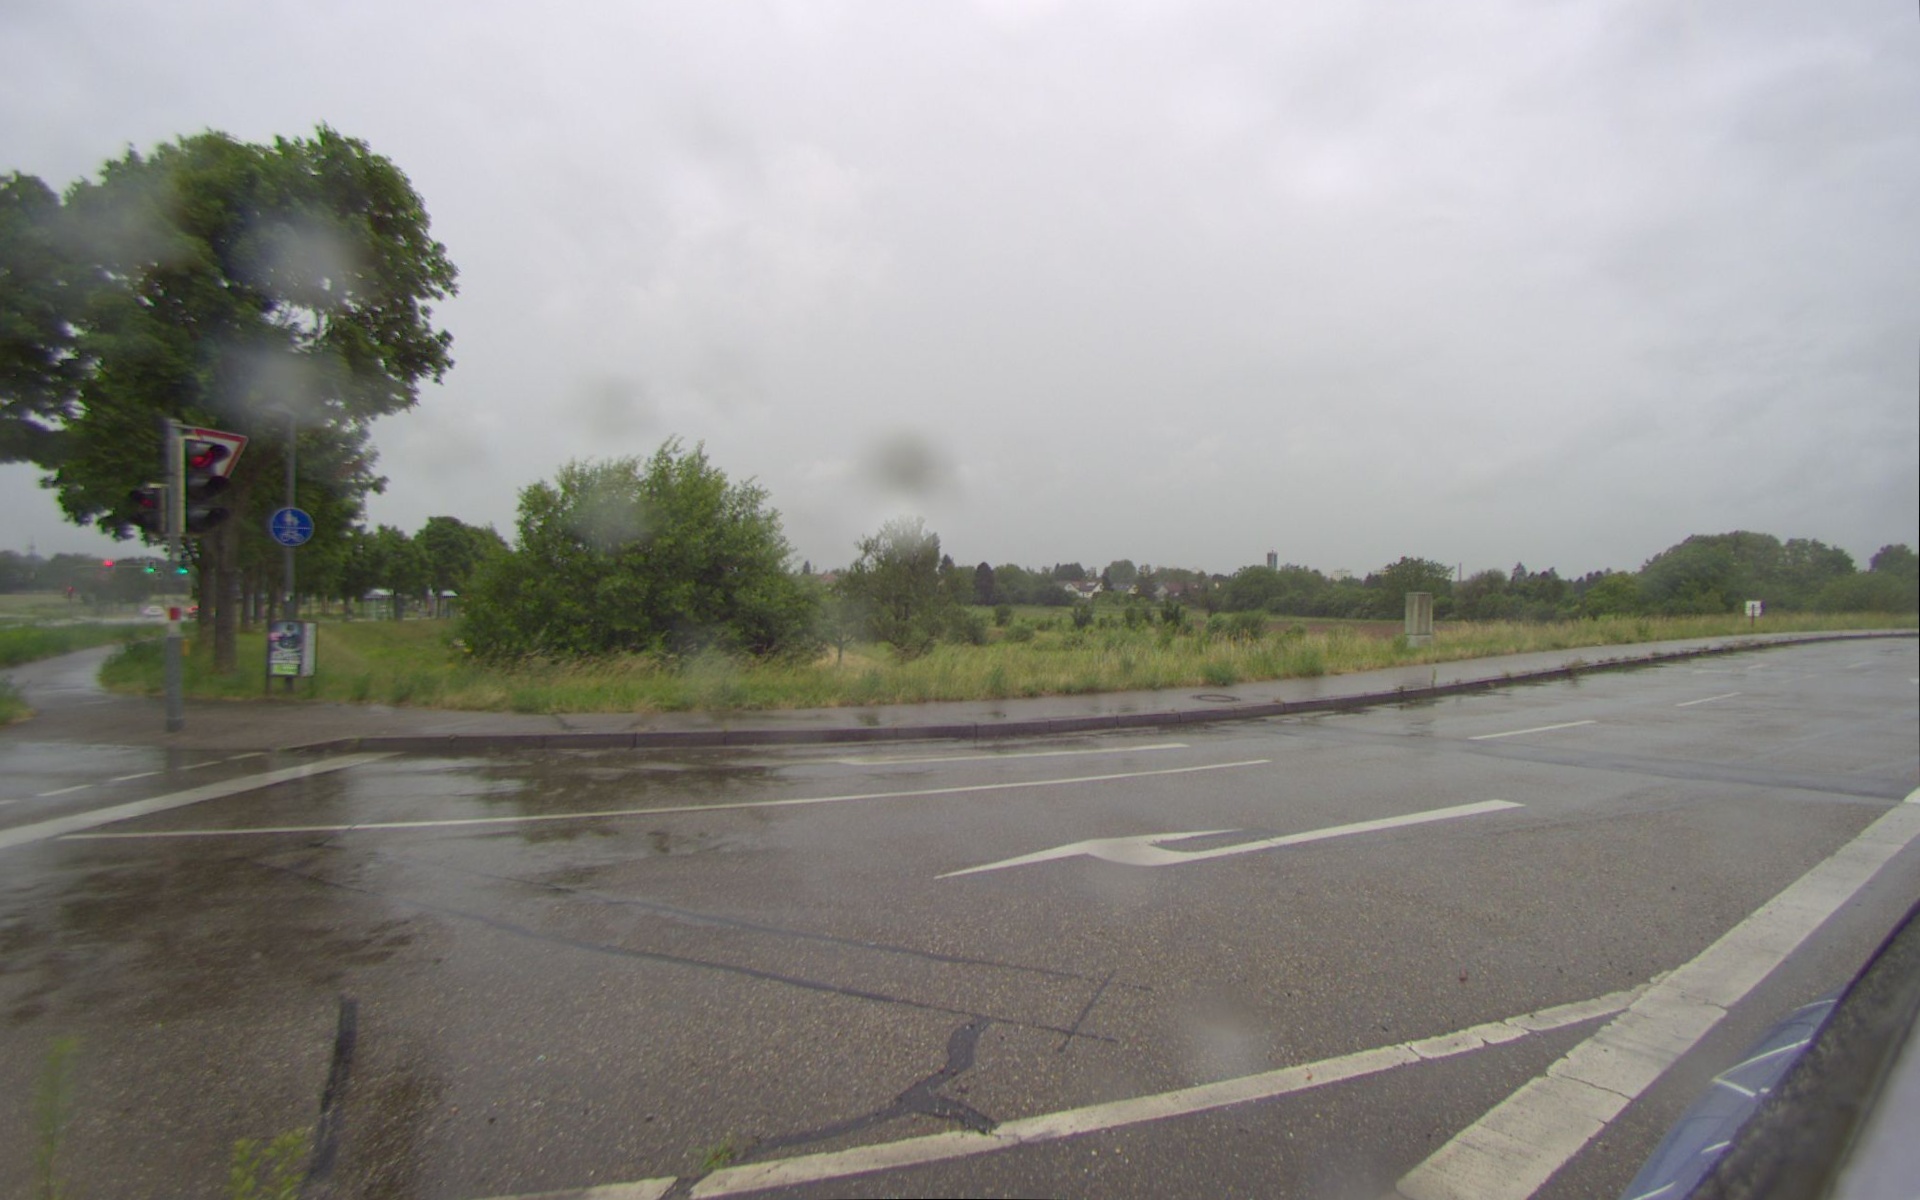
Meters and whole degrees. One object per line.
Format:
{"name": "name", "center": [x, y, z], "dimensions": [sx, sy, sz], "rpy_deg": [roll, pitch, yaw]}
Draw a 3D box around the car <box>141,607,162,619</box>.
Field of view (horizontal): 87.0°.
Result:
{"name": "car", "center": [-96.464, 1.557, 120.743], "dimensions": [1.845, 1.371, 4.050], "rpy_deg": [0, 1, -37]}
